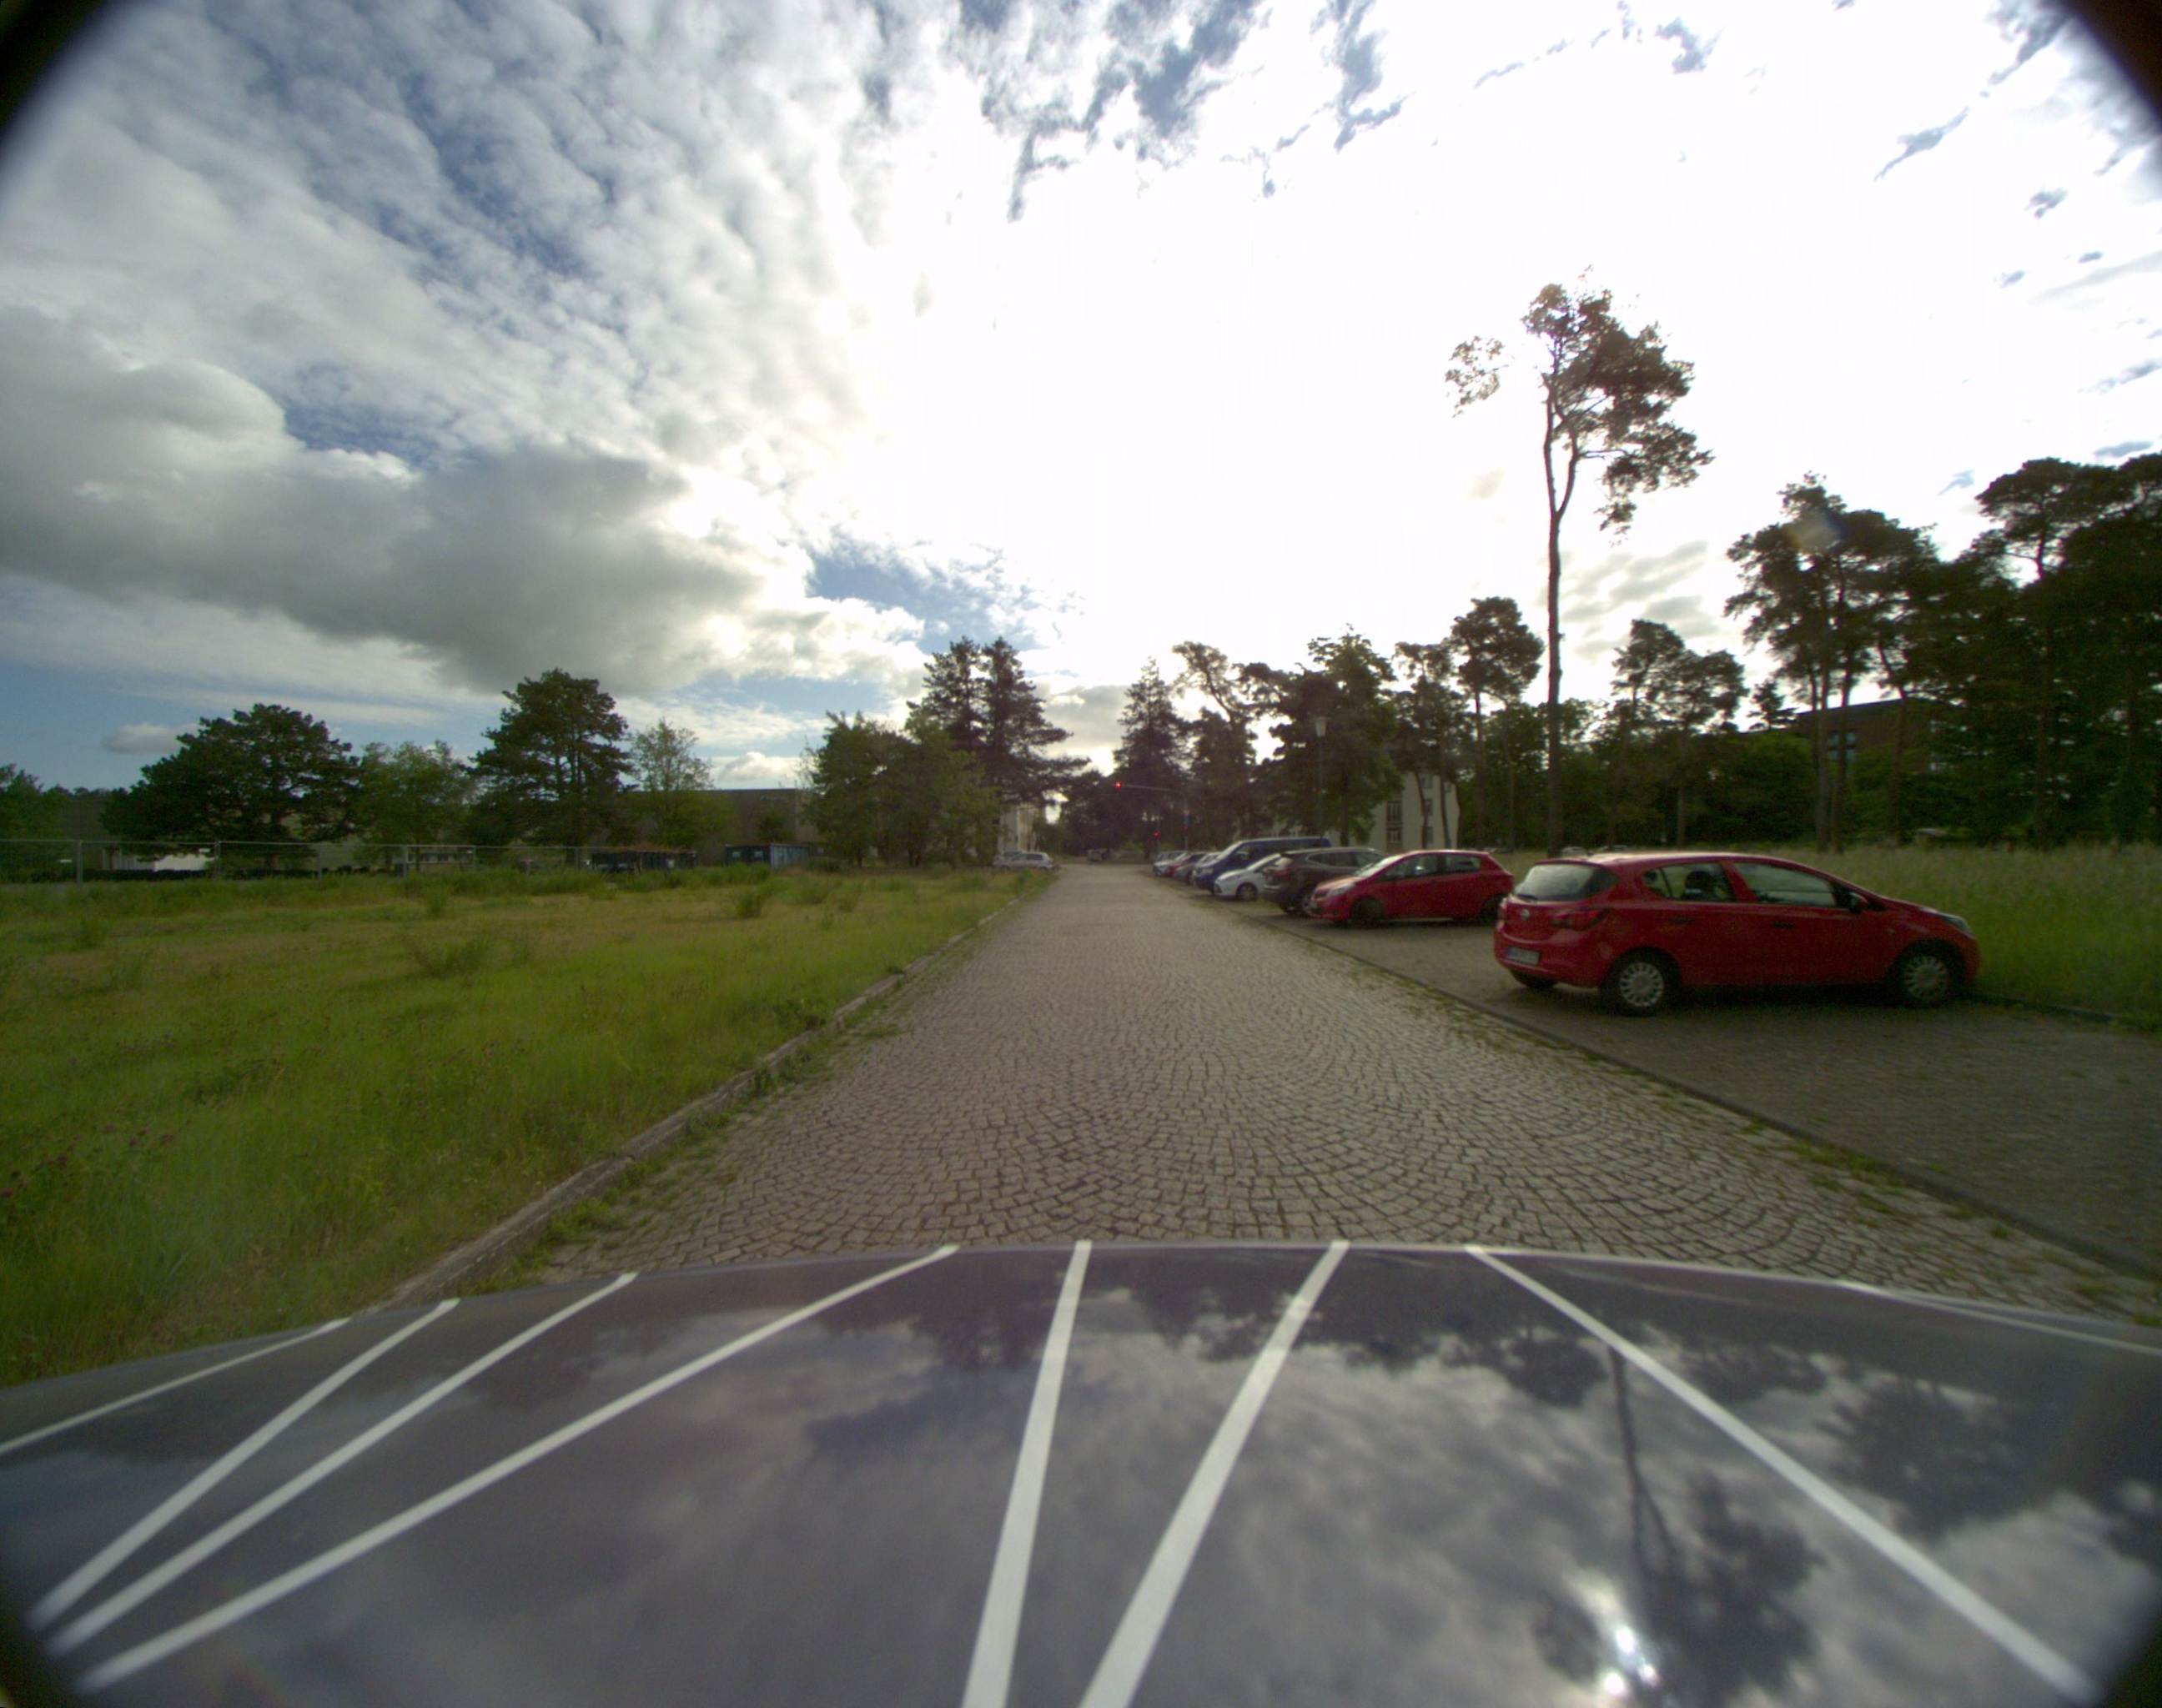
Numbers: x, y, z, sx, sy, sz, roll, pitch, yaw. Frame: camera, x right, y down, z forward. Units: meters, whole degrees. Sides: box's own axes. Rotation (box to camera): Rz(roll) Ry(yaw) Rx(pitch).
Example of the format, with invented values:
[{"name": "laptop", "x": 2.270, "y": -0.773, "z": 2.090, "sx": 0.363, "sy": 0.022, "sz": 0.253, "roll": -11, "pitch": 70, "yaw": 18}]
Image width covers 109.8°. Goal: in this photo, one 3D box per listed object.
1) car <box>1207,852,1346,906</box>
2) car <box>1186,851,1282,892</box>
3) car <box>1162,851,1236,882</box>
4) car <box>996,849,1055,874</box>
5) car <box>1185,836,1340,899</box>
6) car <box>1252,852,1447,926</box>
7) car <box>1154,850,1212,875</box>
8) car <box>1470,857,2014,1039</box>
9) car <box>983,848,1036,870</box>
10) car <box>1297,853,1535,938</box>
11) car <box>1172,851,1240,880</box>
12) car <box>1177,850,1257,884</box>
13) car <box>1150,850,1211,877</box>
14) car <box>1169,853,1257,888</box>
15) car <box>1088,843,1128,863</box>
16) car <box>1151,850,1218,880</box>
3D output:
[{"name": "car", "x": 6.150, "y": 0.766, "z": 24.188, "sx": 3.930, "sy": 1.385, "sz": 1.742, "roll": -4, "pitch": 1, "yaw": -1}, {"name": "car", "x": 6.461, "y": 0.703, "z": 32.307, "sx": 3.600, "sy": 1.446, "sz": 1.686, "roll": -4, "pitch": 1, "yaw": -6}, {"name": "car", "x": 6.295, "y": 0.648, "z": 40.662, "sx": 3.572, "sy": 1.408, "sz": 1.637, "roll": -4, "pitch": 1, "yaw": -6}, {"name": "car", "x": -3.622, "y": 0.459, "z": 49.625, "sx": 3.730, "sy": 1.430, "sz": 1.626, "roll": -3, "pitch": 2, "yaw": -3}, {"name": "car", "x": 6.294, "y": 0.436, "z": 26.772, "sx": 4.833, "sy": 1.855, "sz": 2.161, "roll": -4, "pitch": 1, "yaw": -1}, {"name": "car", "x": 6.189, "y": 0.772, "z": 17.789, "sx": 3.916, "sy": 1.594, "sz": 1.820, "roll": 0, "pitch": 0, "yaw": -2}, {"name": "car", "x": 6.777, "y": 0.525, "z": 50.627, "sx": 3.455, "sy": 1.424, "sz": 1.627, "roll": -4, "pitch": 1, "yaw": -9}, {"name": "car", "x": 6.224, "y": 0.827, "z": 7.497, "sx": 3.894, "sy": 1.470, "sz": 1.671, "roll": -2, "pitch": 0, "yaw": 0}, {"name": "car", "x": -5.195, "y": 0.349, "z": 54.990, "sx": 3.731, "sy": 1.430, "sz": 1.625, "roll": -3, "pitch": 1, "yaw": -7}, {"name": "car", "x": 6.529, "y": 0.784, "z": 15.116, "sx": 3.950, "sy": 1.511, "sz": 1.707, "roll": -1, "pitch": 0, "yaw": 1}, {"name": "car", "x": 7.047, "y": 0.634, "z": 43.149, "sx": 3.650, "sy": 1.341, "sz": 1.621, "roll": -3, "pitch": 1, "yaw": 5}, {"name": "car", "x": 6.766, "y": 0.642, "z": 38.032, "sx": 3.572, "sy": 1.426, "sz": 1.605, "roll": -4, "pitch": 1, "yaw": -6}, {"name": "car", "x": 6.304, "y": 0.605, "z": 48.292, "sx": 3.571, "sy": 1.450, "sz": 1.626, "roll": -4, "pitch": 1, "yaw": -2}, {"name": "car", "x": 6.048, "y": 0.731, "z": 34.982, "sx": 3.600, "sy": 1.413, "sz": 1.617, "roll": -3, "pitch": 1, "yaw": -6}, {"name": "car", "x": 4.180, "y": -0.175, "z": 117.556, "sx": 5.797, "sy": 2.548, "sz": 2.768, "roll": -4, "pitch": 1, "yaw": -5}, {"name": "car", "x": 6.136, "y": 0.629, "z": 45.103, "sx": 3.573, "sy": 1.479, "sz": 1.601, "roll": -4, "pitch": 1, "yaw": -7}]
